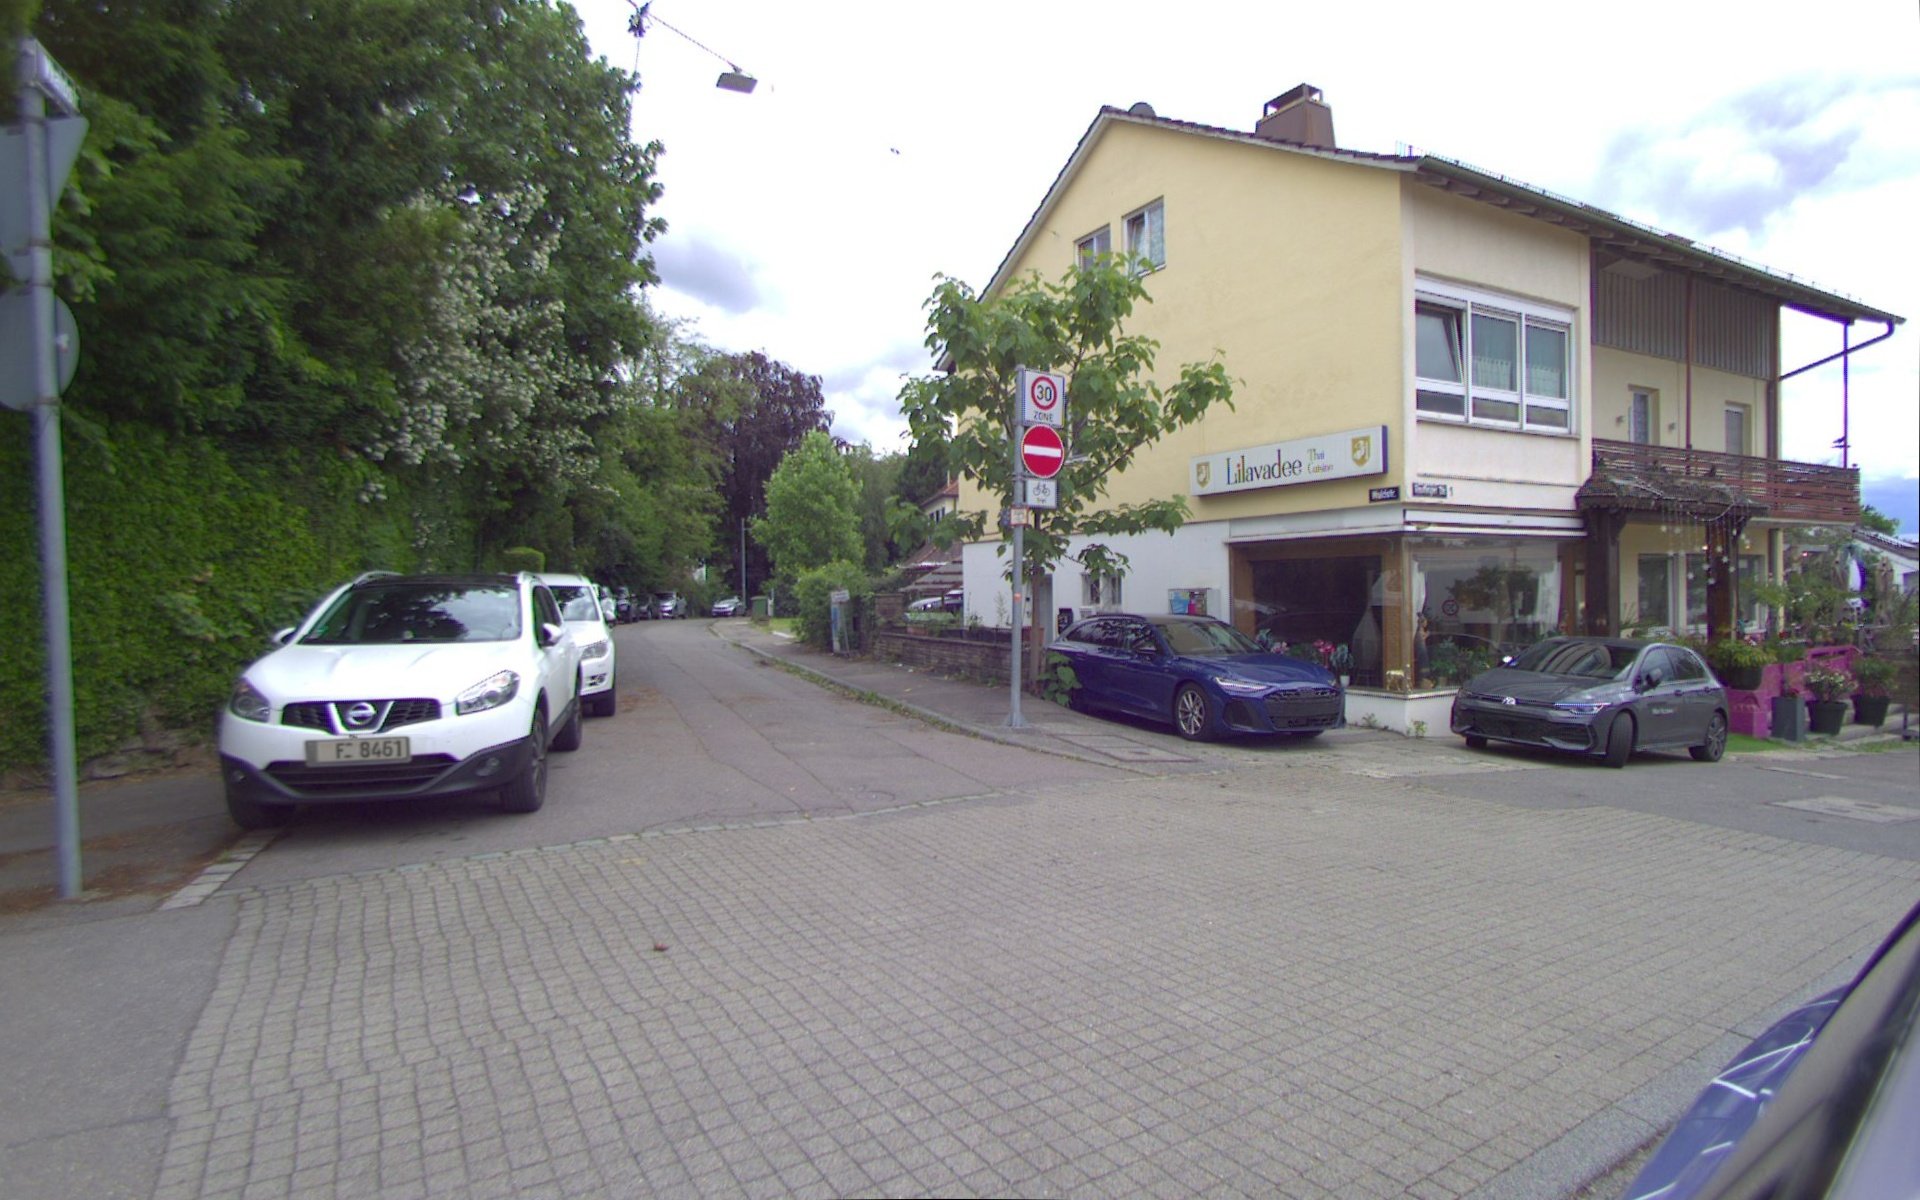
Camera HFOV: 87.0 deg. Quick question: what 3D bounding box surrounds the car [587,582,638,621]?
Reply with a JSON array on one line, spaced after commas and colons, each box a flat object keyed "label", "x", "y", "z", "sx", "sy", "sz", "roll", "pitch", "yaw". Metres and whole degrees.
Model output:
[{"label": "car", "x": -14.221, "y": 0.043, "z": 41.533, "sx": 1.542, "sy": 1.502, "sz": 3.481, "roll": -1, "pitch": 1, "yaw": -11}]

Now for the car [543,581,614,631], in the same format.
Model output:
[{"label": "car", "x": -12.229, "y": 0.137, "z": 32.599, "sx": 1.542, "sy": 1.502, "sz": 3.745, "roll": -1, "pitch": 1, "yaw": -11}]

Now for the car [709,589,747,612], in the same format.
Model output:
[{"label": "car", "x": -16.366, "y": 0.025, "z": 71.464, "sx": 1.547, "sy": 1.502, "sz": 3.468, "roll": 0, "pitch": 1, "yaw": 7}]

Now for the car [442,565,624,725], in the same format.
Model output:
[{"label": "car", "x": -5.186, "y": 0.433, "z": 12.618, "sx": 1.761, "sy": 1.643, "sz": 4.080, "roll": -1, "pitch": 1, "yaw": -20}]

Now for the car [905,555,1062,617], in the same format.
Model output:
[{"label": "car", "x": 0.704, "y": -0.376, "z": 30.195, "sx": 4.235, "sy": 1.480, "sz": 1.802, "roll": 4, "pitch": -2, "yaw": -19}]

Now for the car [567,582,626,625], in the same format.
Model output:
[{"label": "car", "x": -13.436, "y": 0.102, "z": 37.553, "sx": 1.542, "sy": 1.502, "sz": 3.481, "roll": -1, "pitch": 1, "yaw": -11}]

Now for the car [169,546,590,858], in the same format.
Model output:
[{"label": "car", "x": -3.875, "y": 0.507, "z": 7.563, "sx": 1.761, "sy": 1.643, "sz": 4.144, "roll": -1, "pitch": 1, "yaw": -16}]

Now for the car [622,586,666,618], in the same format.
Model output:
[{"label": "car", "x": -15.932, "y": 0.072, "z": 51.119, "sx": 1.542, "sy": 1.502, "sz": 3.479, "roll": -1, "pitch": 1, "yaw": -8}]

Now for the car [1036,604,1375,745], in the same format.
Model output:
[{"label": "car", "x": 2.905, "y": 0.828, "z": 13.221, "sx": 1.761, "sy": 1.405, "sz": 4.758, "roll": 2, "pitch": 0, "yaw": -23}]

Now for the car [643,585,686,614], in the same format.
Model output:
[{"label": "car", "x": -16.256, "y": -0.044, "z": 55.802, "sx": 1.543, "sy": 1.502, "sz": 3.476, "roll": 0, "pitch": 1, "yaw": -3}]

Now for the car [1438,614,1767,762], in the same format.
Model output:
[{"label": "car", "x": 7.934, "y": 1.065, "z": 12.383, "sx": 4.242, "sy": 1.480, "sz": 1.800, "roll": 5, "pitch": -2, "yaw": -34}]

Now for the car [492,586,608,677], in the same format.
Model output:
[{"label": "car", "x": -7.440, "y": 0.479, "z": 18.617, "sx": 1.761, "sy": 1.441, "sz": 4.080, "roll": -1, "pitch": 1, "yaw": -20}]
